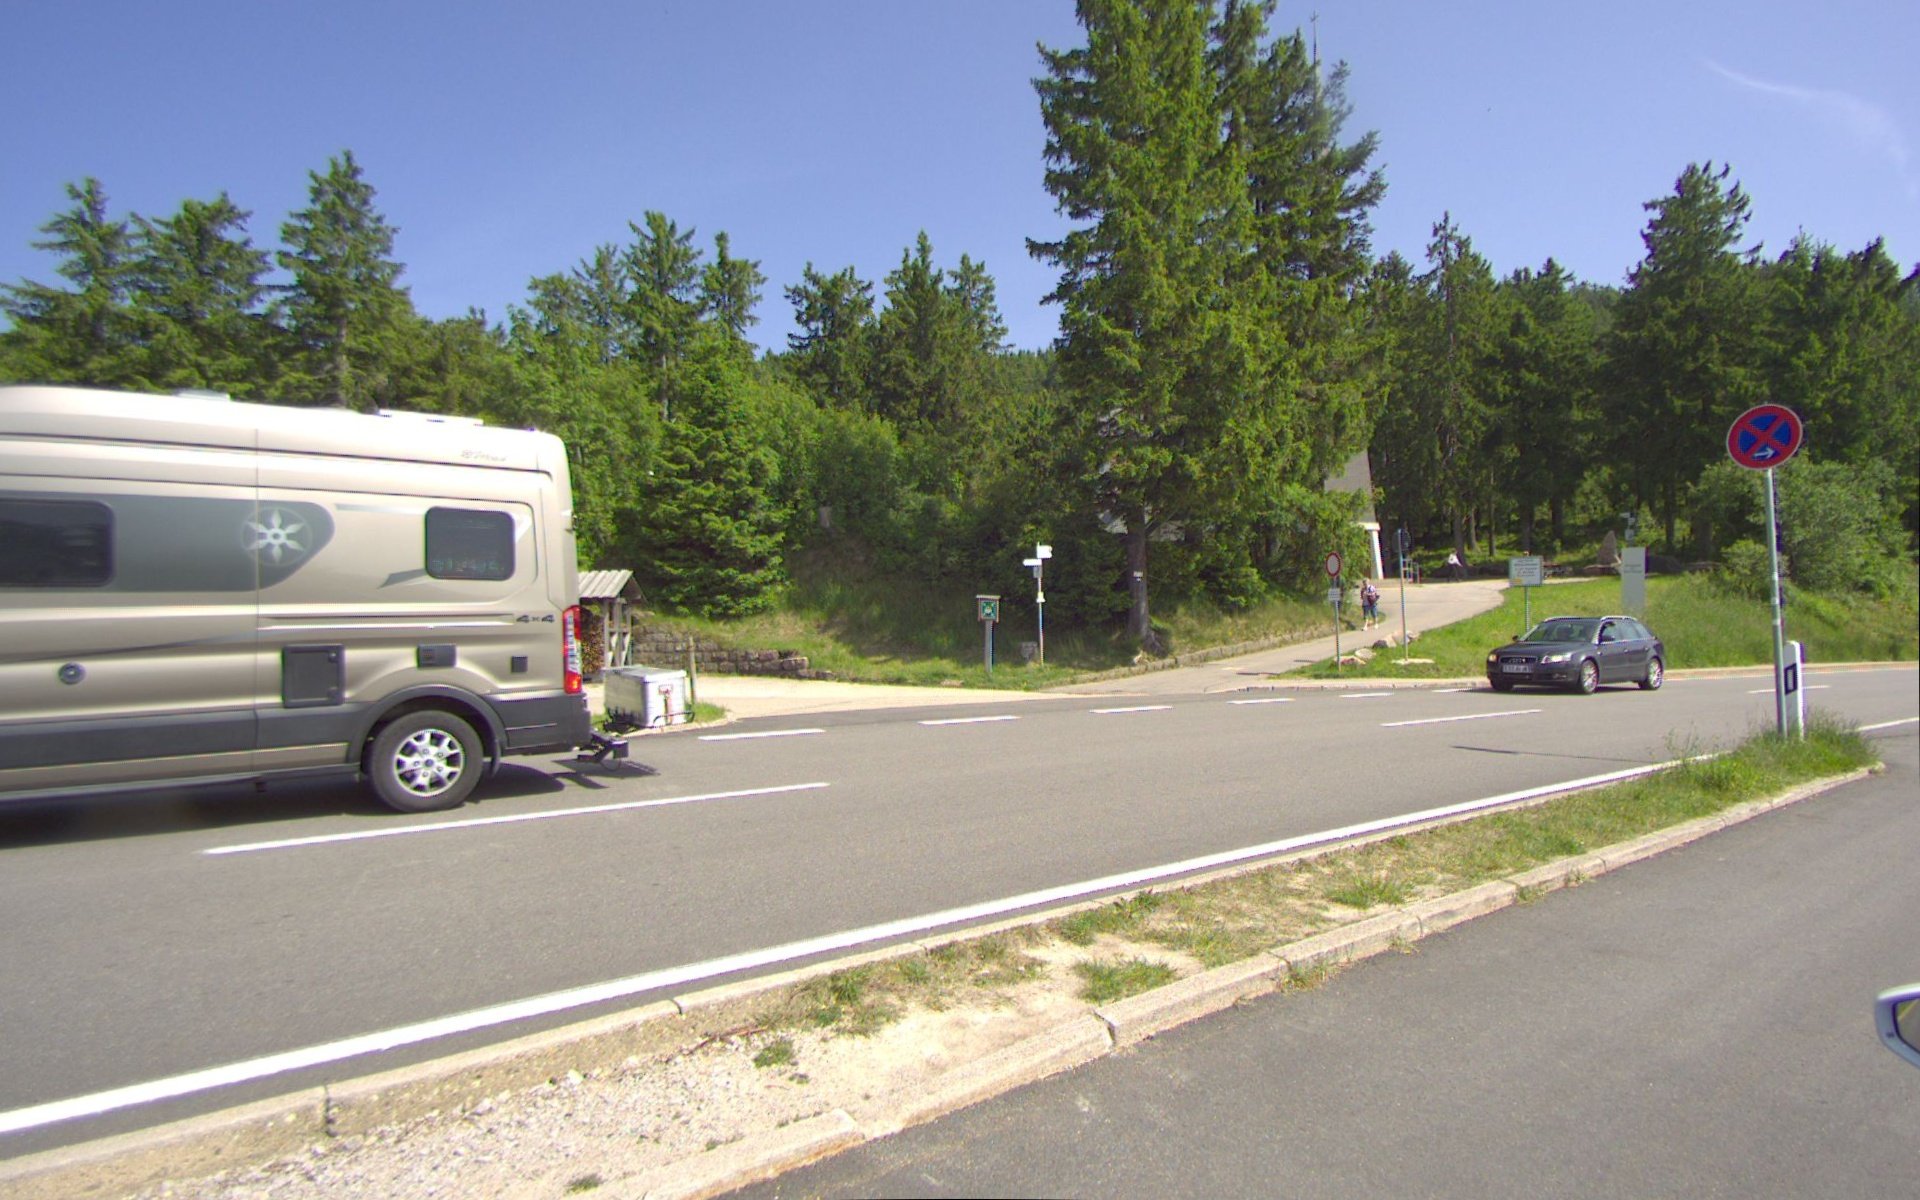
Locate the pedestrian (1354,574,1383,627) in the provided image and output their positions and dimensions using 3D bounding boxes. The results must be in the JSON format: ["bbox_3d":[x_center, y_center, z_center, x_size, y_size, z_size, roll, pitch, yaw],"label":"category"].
[{"bbox_3d":[13.493,0.020,33.166,0.711,1.703,0.680,-2,-2,38],"label":"pedestrian"}]

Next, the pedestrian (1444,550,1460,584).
[{"bbox_3d":[28.426,-1.915,58.025,0.531,1.902,0.683,0,-1,0],"label":"pedestrian"}]

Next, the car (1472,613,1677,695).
[{"bbox_3d":[12.087,1.003,19.669,4.402,1.457,1.696,1,-2,-33],"label":"car"}]

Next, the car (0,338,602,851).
[{"bbox_3d":[-5.557,-0.002,6.447,5.858,2.787,1.998,1,-2,-35],"label":"car"}]
